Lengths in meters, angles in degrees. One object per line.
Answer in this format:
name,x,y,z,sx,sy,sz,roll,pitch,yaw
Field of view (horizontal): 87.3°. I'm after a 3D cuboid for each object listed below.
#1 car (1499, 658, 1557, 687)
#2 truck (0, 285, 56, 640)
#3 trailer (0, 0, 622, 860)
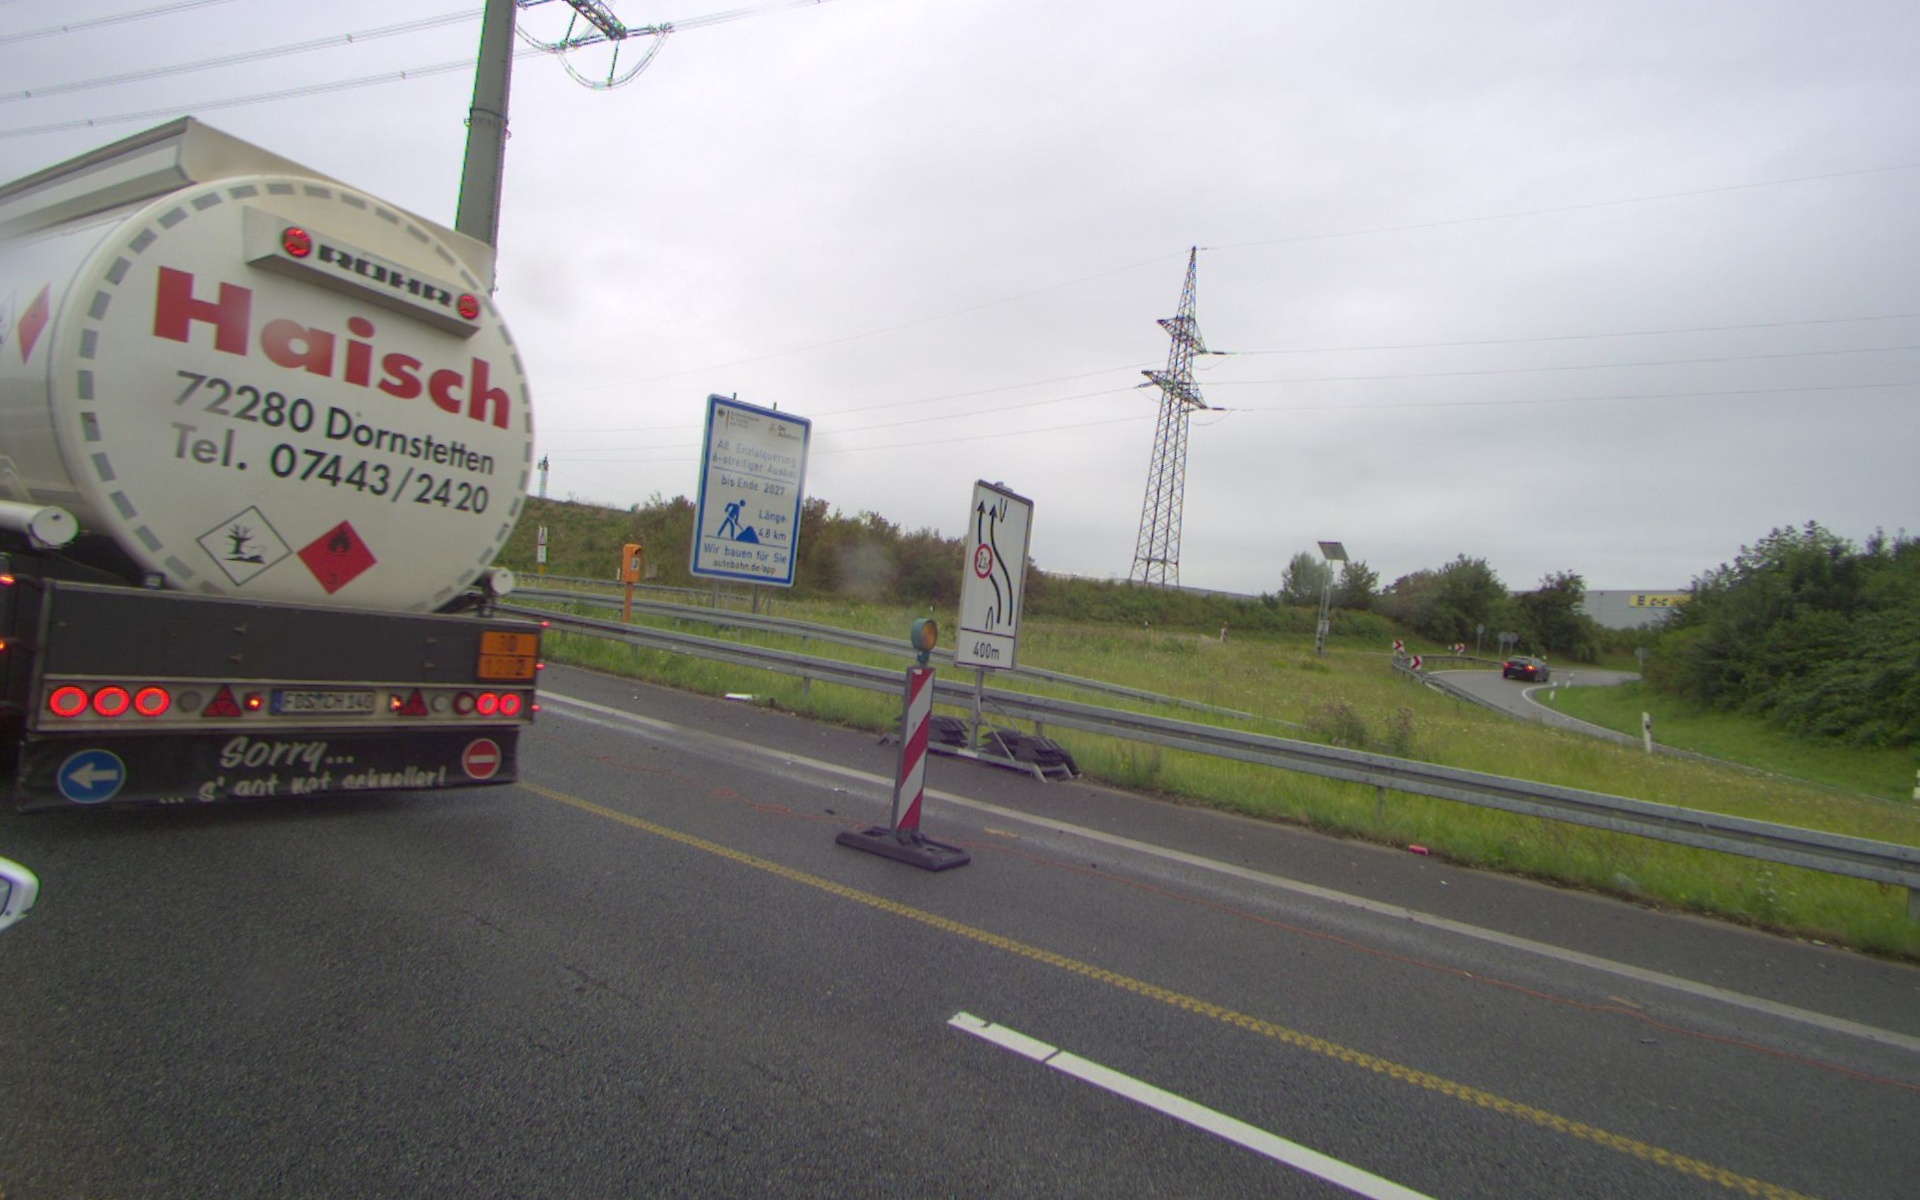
car,35.749,4.578,63.236,1.974,1.466,4.567,7,0,44
truck,-12.998,-1.800,11.470,3.963,3.936,2.650,6,-2,32
trailer,-7.454,-1.208,8.027,10.369,3.938,2.643,6,-2,32
